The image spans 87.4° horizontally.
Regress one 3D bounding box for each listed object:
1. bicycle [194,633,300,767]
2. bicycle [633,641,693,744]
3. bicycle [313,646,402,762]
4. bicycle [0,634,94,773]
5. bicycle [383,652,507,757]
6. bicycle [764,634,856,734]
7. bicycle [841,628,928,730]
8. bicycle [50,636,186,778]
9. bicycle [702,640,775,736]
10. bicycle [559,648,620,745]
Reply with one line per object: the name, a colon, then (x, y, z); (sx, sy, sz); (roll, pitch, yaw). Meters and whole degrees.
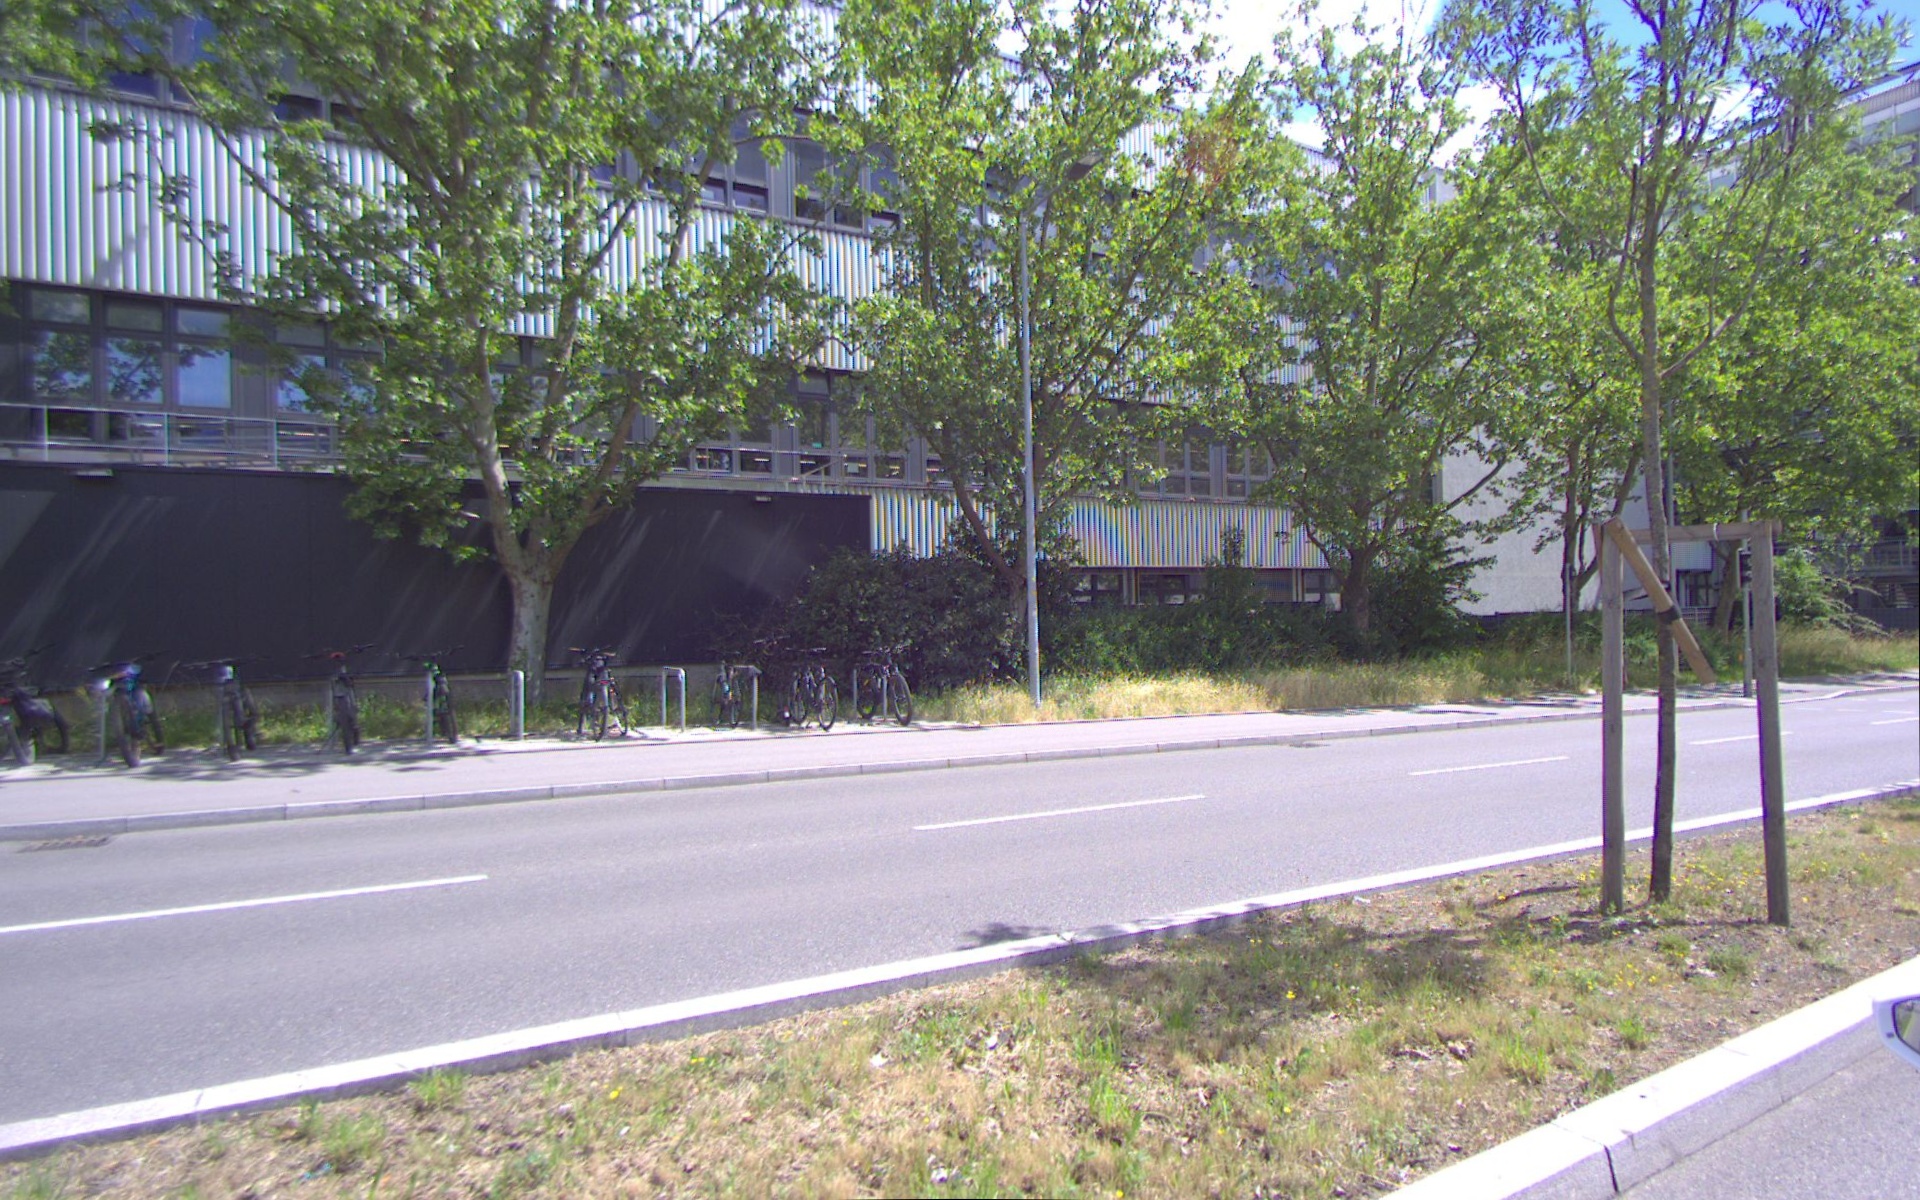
bicycle: (-7.844, 1.042, 11.126); (0.797, 1.299, 1.908); (1, -1, -31)
bicycle: (-4.065, 1.186, 13.633); (0.634, 1.173, 2.562); (1, 0, -20)
bicycle: (-6.912, 1.132, 11.540); (0.797, 1.137, 1.908); (1, -1, -31)
bicycle: (-9.890, 1.031, 10.584); (0.797, 1.299, 2.123); (1, -1, -31)
bicycle: (-6.437, 1.225, 12.461); (0.843, 1.020, 2.813); (1, -1, -38)
bicycle: (-2.204, 1.154, 14.492); (0.549, 1.274, 2.395); (1, -1, -28)
bicycle: (-1.166, 1.129, 15.053); (0.483, 1.382, 2.158); (1, -1, -28)
bicycle: (-8.795, 1.054, 10.575); (0.797, 1.299, 1.908); (1, -1, -31)
bicycle: (-3.255, 1.218, 14.597); (0.714, 1.173, 2.562); (1, 0, -20)
bicycle: (-4.908, 1.222, 13.368); (0.685, 1.110, 2.562); (1, -2, -20)
